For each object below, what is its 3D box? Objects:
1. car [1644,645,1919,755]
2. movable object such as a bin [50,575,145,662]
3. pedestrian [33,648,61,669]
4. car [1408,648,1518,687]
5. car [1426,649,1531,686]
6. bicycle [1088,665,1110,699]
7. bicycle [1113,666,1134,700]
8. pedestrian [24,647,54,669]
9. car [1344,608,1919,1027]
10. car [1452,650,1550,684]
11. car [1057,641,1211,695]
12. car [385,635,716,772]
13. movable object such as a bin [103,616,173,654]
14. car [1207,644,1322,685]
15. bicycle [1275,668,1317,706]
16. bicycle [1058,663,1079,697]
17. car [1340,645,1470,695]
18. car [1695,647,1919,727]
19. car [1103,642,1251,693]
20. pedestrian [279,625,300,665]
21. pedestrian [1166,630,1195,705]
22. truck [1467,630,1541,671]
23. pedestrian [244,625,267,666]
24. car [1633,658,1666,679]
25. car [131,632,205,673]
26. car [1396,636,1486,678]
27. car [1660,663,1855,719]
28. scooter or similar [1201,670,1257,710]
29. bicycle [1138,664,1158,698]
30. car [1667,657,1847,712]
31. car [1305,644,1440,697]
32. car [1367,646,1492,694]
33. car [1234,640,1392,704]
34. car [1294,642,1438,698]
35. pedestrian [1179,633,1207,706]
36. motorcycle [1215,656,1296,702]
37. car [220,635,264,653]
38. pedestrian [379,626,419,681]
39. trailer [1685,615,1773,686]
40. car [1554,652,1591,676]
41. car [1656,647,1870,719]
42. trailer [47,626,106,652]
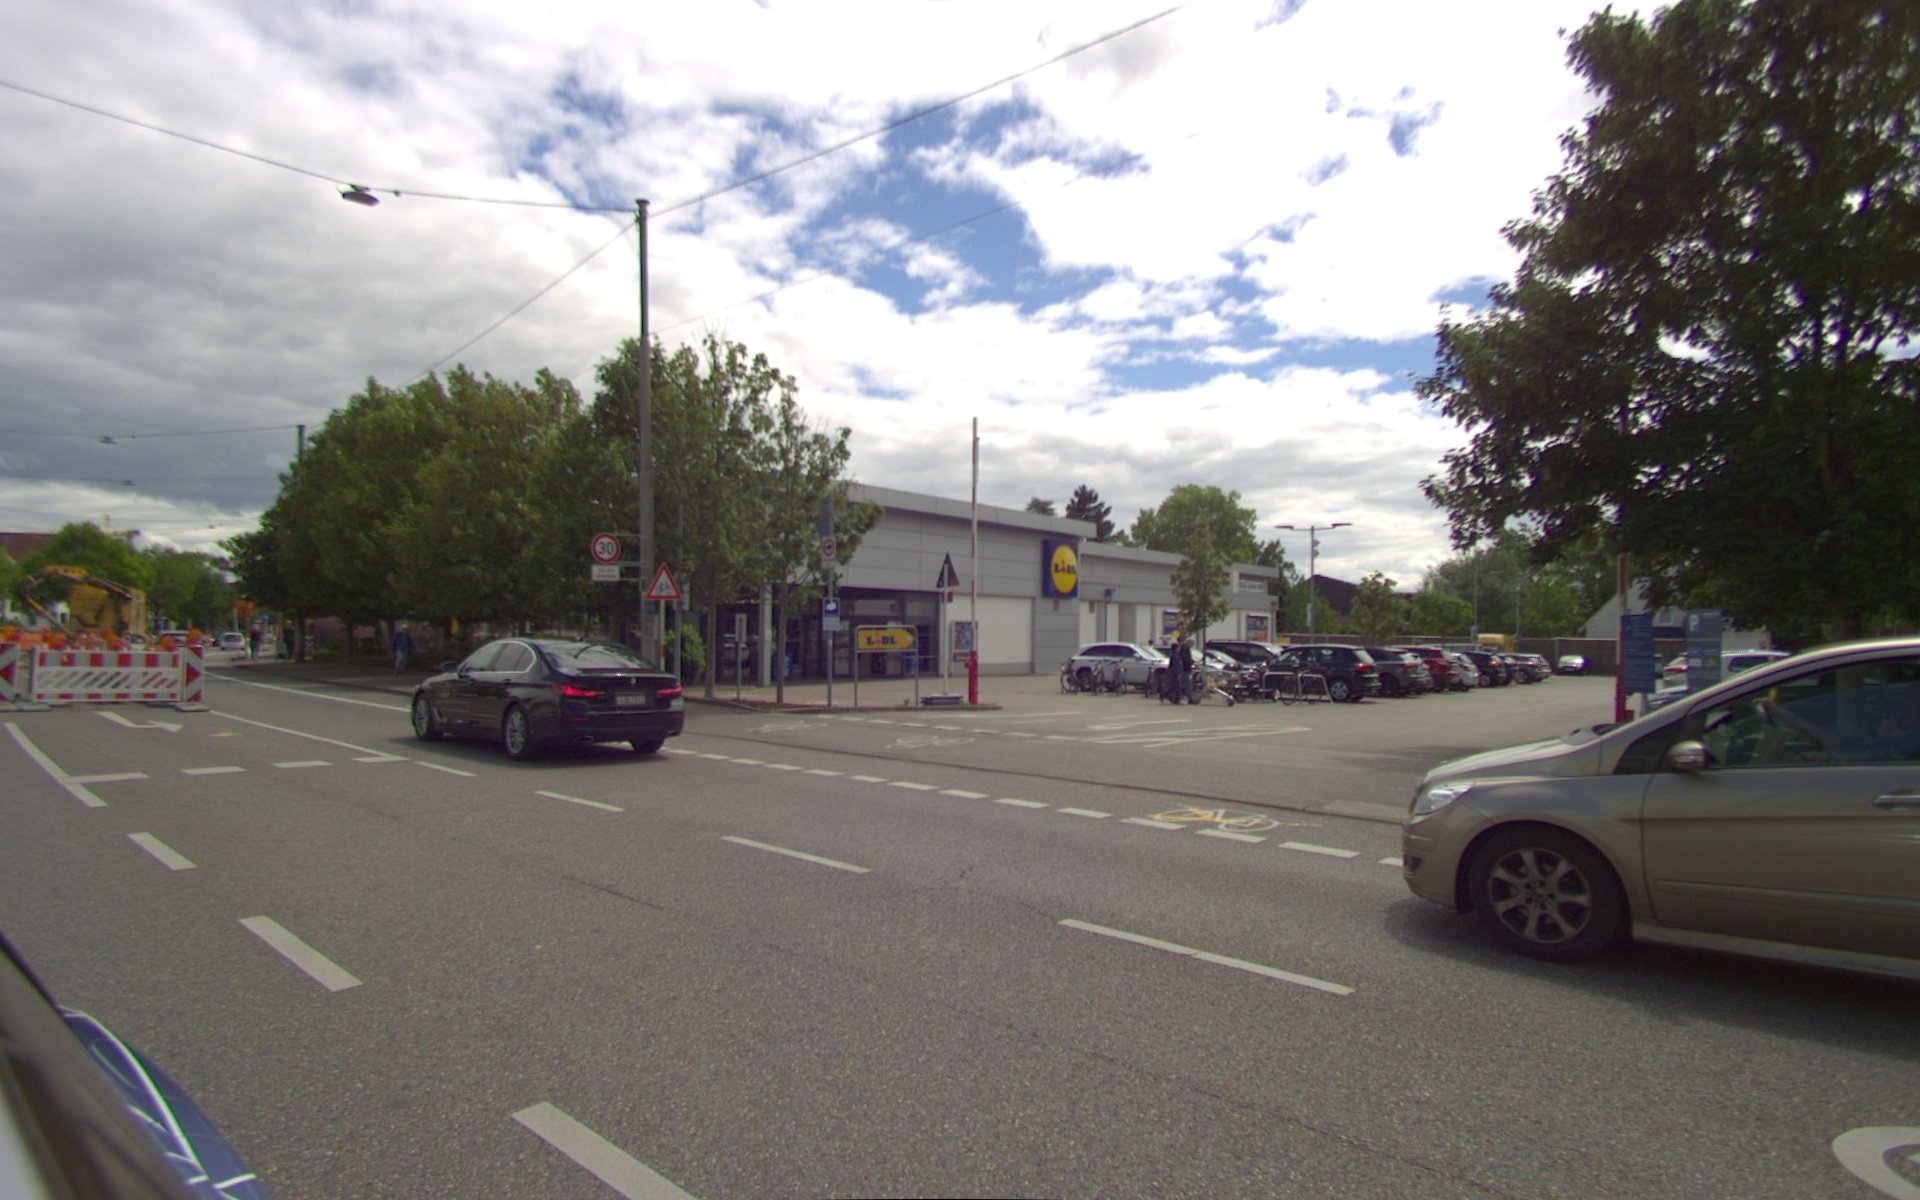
[{"bbox_3d":[12.936,1.452,15.396,3.998,1.464,1.973,-1,-3,41],"label":"car"},{"bbox_3d":[-46.371,1.107,54.682,2.556,4.254,11.149,3,-3,-34],"label":"movable object such as a bin"},{"bbox_3d":[-43.339,2.780,48.033,0.632,0.998,0.795,1,-3,-11],"label":"pedestrian"},{"bbox_3d":[22.338,2.972,45.016,3.998,1.596,1.973,-1,-3,41],"label":"car"},{"bbox_3d":[24.062,3.097,47.022,3.998,1.596,1.973,-1,-3,41],"label":"car"},{"bbox_3d":[4.339,2.535,31.507,0.346,0.964,1.873,0,-3,18],"label":"bicycle"},{"bbox_3d":[5.032,2.529,31.101,0.346,0.964,1.873,0,-3,18],"label":"bicycle"},{"bbox_3d":[-44.190,2.783,48.588,0.779,0.998,0.814,2,-3,-21],"label":"pedestrian"},{"bbox_3d":[4.204,0.849,4.439,4.400,1.567,1.731,-2,-3,41],"label":"car"},{"bbox_3d":[26.980,3.317,50.515,3.998,1.596,1.973,-1,-3,41],"label":"car"},{"bbox_3d":[5.690,2.185,33.472,4.670,1.584,1.973,-1,-3,40],"label":"car"},{"bbox_3d":[-5.430,1.215,13.101,4.808,1.410,1.973,-1,-4,41],"label":"car"},{"bbox_3d":[-61.305,2.631,75.589,1.965,2.646,6.543,2,-3,-20],"label":"movable object such as a bin"},{"bbox_3d":[13.041,2.721,43.416,4.310,1.584,1.973,-1,-3,40],"label":"car"},{"bbox_3d":[8.939,2.284,26.872,1.631,0.964,0.314,3,-4,-43],"label":"bicycle"},{"bbox_3d":[3.379,2.476,31.531,0.344,0.964,1.886,1,-3,-3],"label":"bicycle"},{"bbox_3d":[16.386,2.536,37.324,3.998,1.708,1.973,-1,-3,41],"label":"car"},{"bbox_3d":[18.758,1.850,22.405,3.994,1.564,1.975,-1,-3,37],"label":"car"},{"bbox_3d":[7.471,2.296,35.138,4.670,1.584,1.973,-1,-3,40],"label":"car"},{"bbox_3d":[-31.390,2.116,47.382,0.616,1.861,0.624,2,-3,-20],"label":"pedestrian"},{"bbox_3d":[5.607,1.700,25.773,0.611,1.873,0.417,-1,-3,38],"label":"pedestrian"},{"bbox_3d":[38.473,3.543,71.655,4.310,2.792,1.973,-1,-3,40],"label":"truck"},{"bbox_3d":[-32.676,2.100,46.930,0.685,1.861,0.624,2,-3,-20],"label":"pedestrian"},{"bbox_3d":[46.386,4.591,68.090,1.584,1.277,3.948,-1,-3,38],"label":"car"},{"bbox_3d":[-31.723,2.074,40.513,1.833,1.525,4.002,3,-3,-45],"label":"car"},{"bbox_3d":[29.496,3.479,62.108,4.696,2.413,1.973,-1,-3,40],"label":"car"},{"bbox_3d":[21.352,2.397,27.292,3.994,1.298,1.975,-1,-3,37],"label":"car"},{"bbox_3d":[6.874,2.282,25.841,1.228,0.950,0.647,-1,-3,38],"label":"scooter or similar"},{"bbox_3d":[5.726,2.450,30.707,0.346,0.964,1.873,0,-3,18],"label":"bicycle"},{"bbox_3d":[23.169,2.418,29.604,3.994,1.409,1.975,-1,-3,37],"label":"car"},{"bbox_3d":[14.402,2.411,35.442,3.998,1.708,1.973,-1,-3,41],"label":"car"},{"bbox_3d":[18.135,2.656,39.190,3.998,1.708,1.973,-1,-3,41],"label":"car"},{"bbox_3d":[10.384,2.075,29.919,3.998,1.708,1.973,-1,-3,41],"label":"car"},{"bbox_3d":[13.279,2.251,33.220,3.998,1.708,1.973,-1,-3,41],"label":"car"},{"bbox_3d":[6.071,1.796,26.350,0.611,1.873,0.417,-1,-3,38],"label":"pedestrian"},{"bbox_3d":[8.083,2.147,27.725,1.926,1.202,0.862,1,-3,-4],"label":"motorcycle"},{"bbox_3d":[-60.756,3.716,85.655,1.829,1.464,4.012,0,-2,-17],"label":"car"},{"bbox_3d":[-16.752,1.583,30.204,0.829,1.615,0.745,-1,-3,39],"label":"pedestrian"},{"bbox_3d":[40.507,2.668,53.238,3.354,3.513,6.094,-1,-4,40],"label":"trailer"},{"bbox_3d":[43.111,4.464,71.198,1.995,1.608,3.953,-1,-3,34],"label":"car"},{"bbox_3d":[19.645,1.989,24.979,3.994,1.564,1.975,-1,-3,37],"label":"car"},{"bbox_3d":[-84.361,3.718,96.730,2.556,2.262,5.692,-1,-2,-22],"label":"trailer"}]
